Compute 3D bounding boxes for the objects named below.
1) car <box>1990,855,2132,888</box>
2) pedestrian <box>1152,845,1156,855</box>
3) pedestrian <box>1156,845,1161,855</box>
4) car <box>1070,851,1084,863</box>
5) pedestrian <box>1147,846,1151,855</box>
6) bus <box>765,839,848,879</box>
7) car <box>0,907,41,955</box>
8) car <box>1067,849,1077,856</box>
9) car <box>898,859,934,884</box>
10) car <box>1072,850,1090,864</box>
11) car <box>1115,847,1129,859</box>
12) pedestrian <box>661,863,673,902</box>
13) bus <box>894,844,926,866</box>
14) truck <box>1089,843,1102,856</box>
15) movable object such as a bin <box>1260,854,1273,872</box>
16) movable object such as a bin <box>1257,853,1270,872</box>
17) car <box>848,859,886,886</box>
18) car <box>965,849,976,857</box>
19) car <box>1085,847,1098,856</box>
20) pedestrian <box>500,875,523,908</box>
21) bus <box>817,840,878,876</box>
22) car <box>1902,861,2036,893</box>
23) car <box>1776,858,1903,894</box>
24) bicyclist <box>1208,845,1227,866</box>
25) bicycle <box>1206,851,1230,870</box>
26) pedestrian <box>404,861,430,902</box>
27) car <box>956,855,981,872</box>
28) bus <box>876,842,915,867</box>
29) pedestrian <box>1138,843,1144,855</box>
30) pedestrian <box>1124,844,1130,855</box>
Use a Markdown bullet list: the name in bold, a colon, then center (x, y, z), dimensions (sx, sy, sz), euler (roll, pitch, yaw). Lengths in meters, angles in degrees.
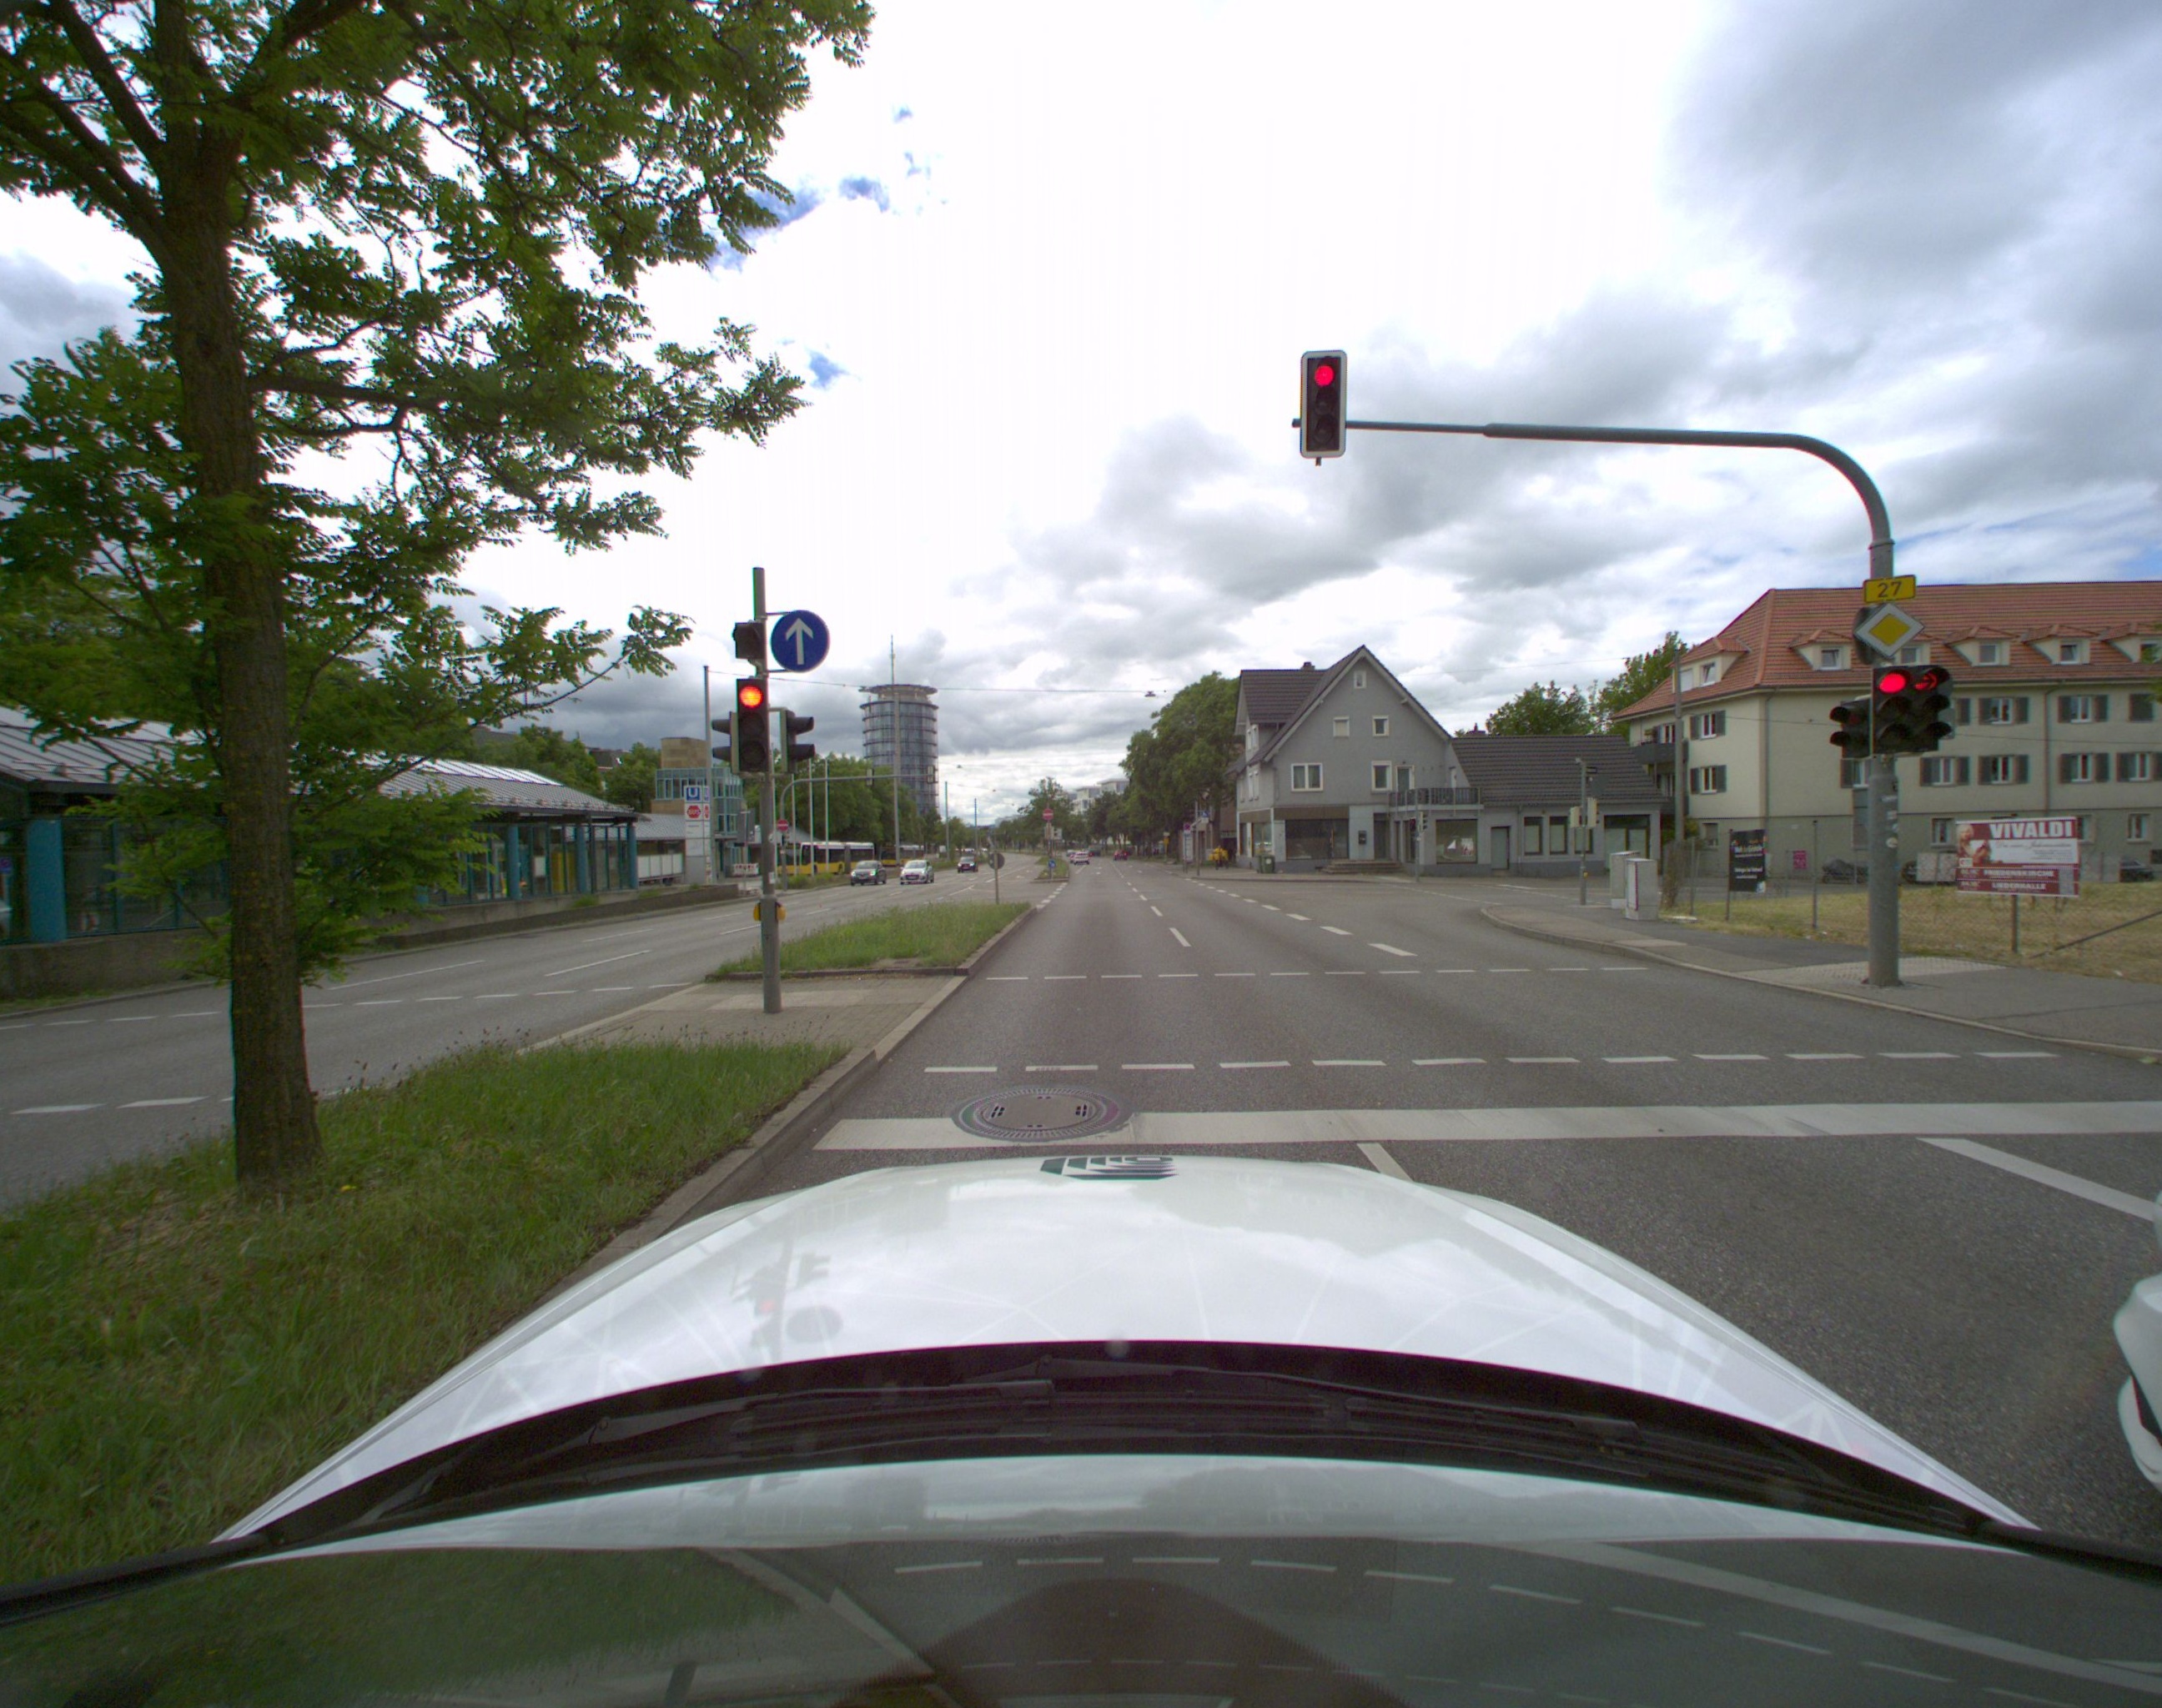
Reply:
- **car**: center (42.247, 0.735, 35.176), dimensions (3.975, 1.377, 1.870), euler (0, 0, -1)
- **pedestrian**: center (12.187, -0.654, 136.048), dimensions (0.649, 1.570, 0.669), euler (-2, 0, -6)
- **pedestrian**: center (12.906, -0.660, 136.001), dimensions (0.649, 1.570, 0.669), euler (-2, 0, -6)
- **car**: center (-0.523, 0.393, 108.040), dimensions (1.817, 1.540, 4.112), euler (-2, 0, -1)
- **pedestrian**: center (11.376, -0.617, 136.214), dimensions (0.649, 1.570, 0.669), euler (-2, 0, -6)
- **bus**: center (-24.325, 0.411, 72.865), dimensions (2.975, 3.250, 10.186), euler (-2, 0, 6)
- **car**: center (-28.484, 2.014, 19.584), dimensions (1.818, 1.168, 3.997), euler (-2, 0, -2)
- **car**: center (-1.914, -0.349, 173.470), dimensions (1.963, 1.420, 4.017), euler (-2, 0, -3)
- **car**: center (-10.341, 1.061, 51.320), dimensions (1.680, 1.462, 3.552), euler (-2, 0, -3)
- **car**: center (0.069, 0.335, 96.593), dimensions (1.986, 1.477, 4.257), euler (-2, 0, 1)
- **car**: center (5.648, -0.091, 112.886), dimensions (1.882, 1.494, 4.101), euler (-3, -1, 2)
- **pedestrian**: center (-17.297, 1.178, 34.010), dimensions (0.420, 1.591, 0.353), euler (-2, 0, -28)
- **bus**: center (-26.040, 0.133, 124.324), dimensions (3.134, 3.225, 7.765), euler (-2, 0, 0)
- **truck**: center (2.751, -0.812, 156.669), dimensions (2.246, 2.416, 4.928), euler (-1, 0, -3)
- **movable object such as a bin**: center (10.031, 0.478, 43.955), dimensions (0.527, 0.979, 0.737), euler (-2, 0, 2)
- **movable object such as a bin**: center (10.037, 0.468, 44.746), dimensions (0.527, 0.979, 0.737), euler (-2, 0, 2)
- **car**: center (-13.494, 1.153, 51.531), dimensions (1.681, 1.578, 3.344), euler (-2, 0, -4)
- **car**: center (-27.263, -0.161, 201.215), dimensions (1.958, 2.014, 4.001), euler (0, -1, 2)
- **car**: center (2.094, -0.468, 165.283), dimensions (2.246, 1.757, 4.928), euler (-2, 0, -3)
- **pedestrian**: center (-27.629, 1.800, 39.492), dimensions (0.630, 1.571, 0.663), euler (-1, -1, 10)
- **bus**: center (-23.354, 0.378, 81.865), dimensions (2.975, 3.270, 7.889), euler (-2, 0, 6)
- **car**: center (39.811, 1.018, 36.576), dimensions (3.972, 1.377, 1.871), euler (0, 0, 2)
- **car**: center (34.041, 0.982, 36.614), dimensions (3.972, 1.537, 1.871), euler (0, 0, 2)
- **bicyclist**: center (9.128, 0.123, 54.492), dimensions (1.065, 1.357, 0.631), euler (-2, 0, 21)
- **bicycle**: center (9.155, 0.427, 54.522), dimensions (1.065, 1.217, 2.452), euler (-2, 0, 21)
- **pedestrian**: center (-27.863, 1.147, 34.165), dimensions (0.520, 1.655, 0.709), euler (-1, 0, -5)
- **car**: center (-10.757, 0.891, 78.069), dimensions (1.696, 1.492, 3.562), euler (-2, 0, 1)
- **bus**: center (-26.097, 0.107, 115.315), dimensions (3.135, 3.225, 10.282), euler (-2, 0, 0)
- **pedestrian**: center (10.177, -0.887, 137.790), dimensions (0.967, 2.014, 0.981), euler (0, -1, 1)
- **pedestrian**: center (9.318, -0.858, 164.183), dimensions (0.930, 2.308, 1.008), euler (0, -1, -8)
